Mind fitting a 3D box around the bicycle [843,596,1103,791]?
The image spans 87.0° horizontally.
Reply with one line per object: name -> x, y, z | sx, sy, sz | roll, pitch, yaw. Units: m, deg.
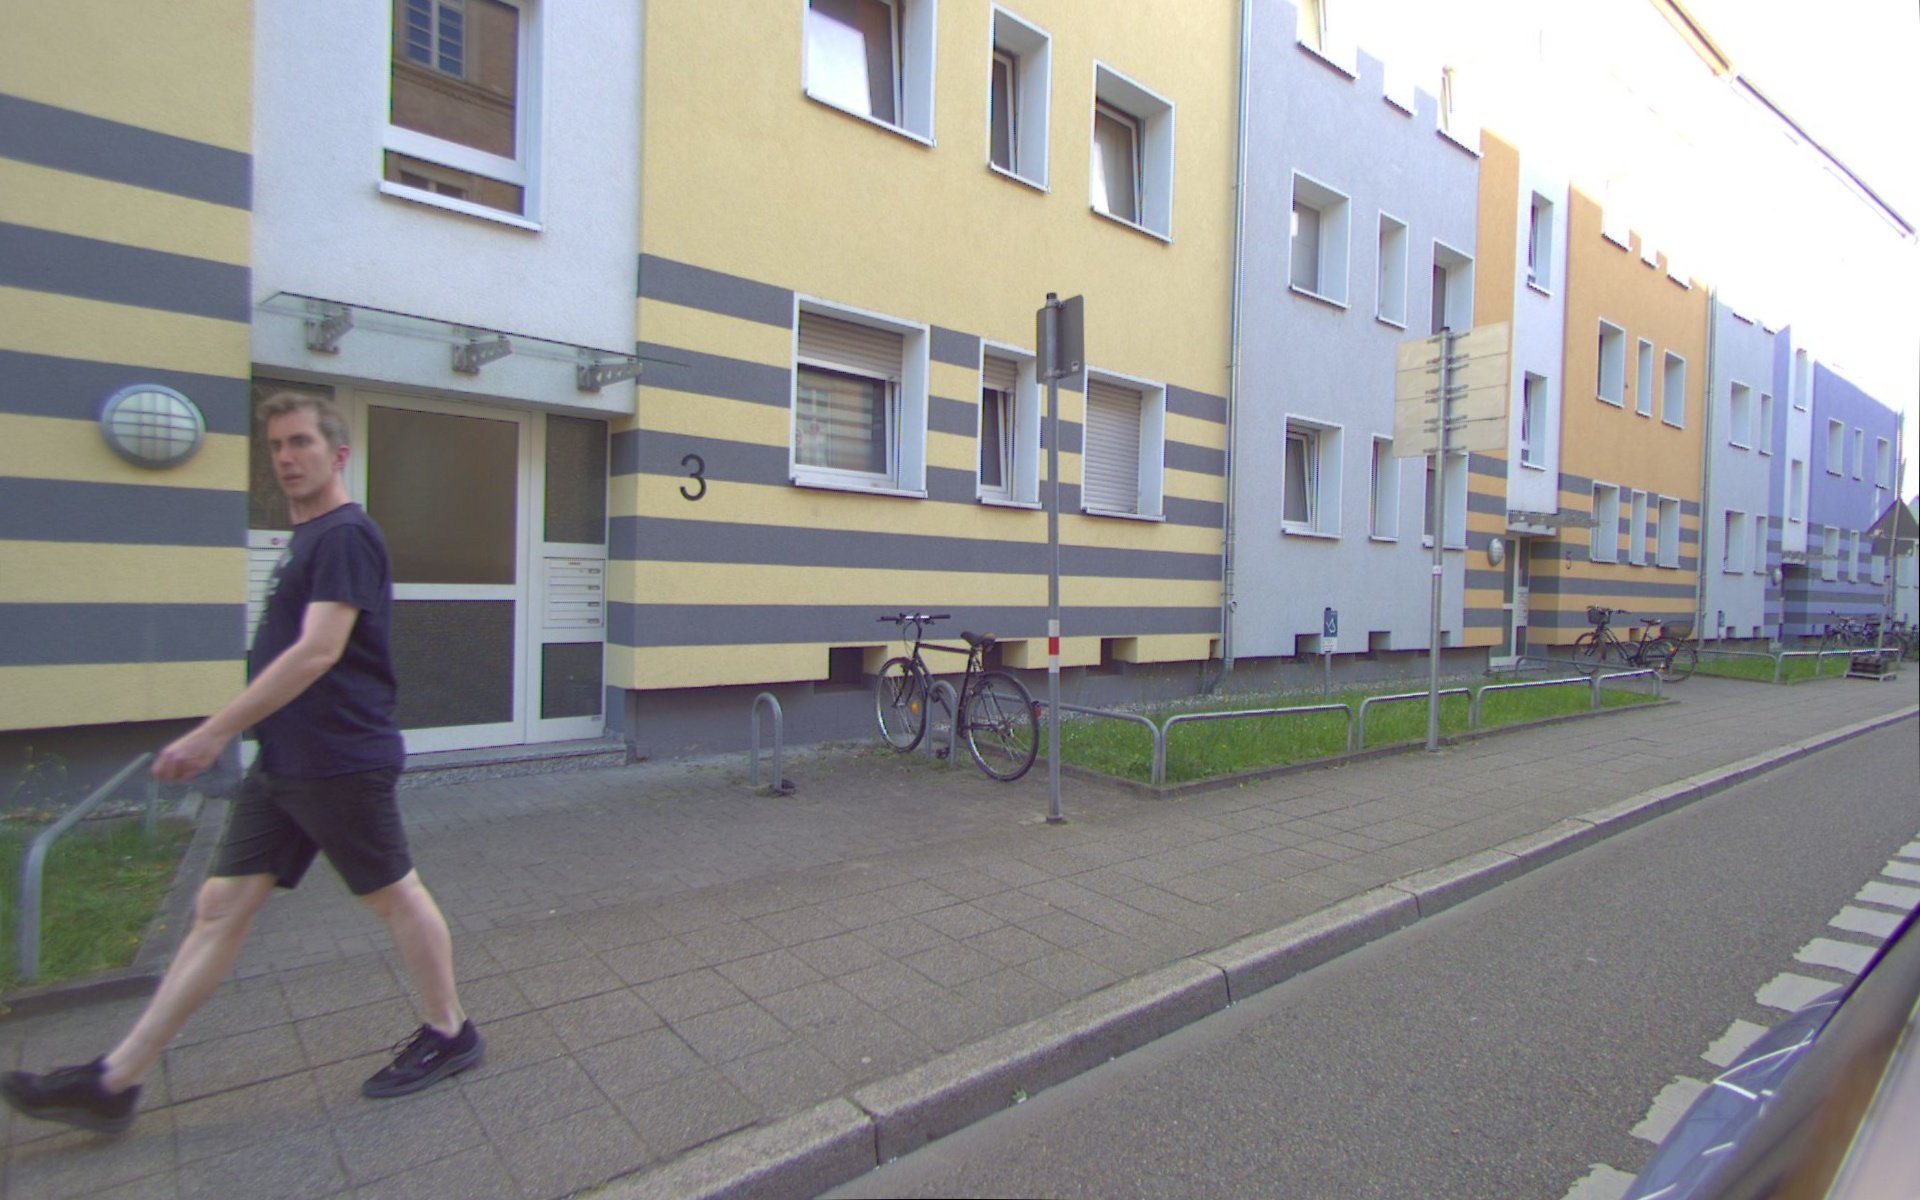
bicycle -> 0.024, 0.565, 7.040 | 0.625, 1.074, 1.946 | 1, 3, -42

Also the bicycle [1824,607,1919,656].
bicycle -> 22.258, 0.752, 24.664 | 0.624, 1.058, 1.711 | 1, 2, -39

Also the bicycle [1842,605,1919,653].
bicycle -> 23.277, 0.724, 25.302 | 0.625, 1.095, 1.711 | 1, 3, -40

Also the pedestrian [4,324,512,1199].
pedestrian -> -1.695, 0.352, 2.502 | 0.898, 1.810, 0.646 | 1, 4, -38

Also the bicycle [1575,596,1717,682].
bicycle -> 10.718, 0.578, 15.860 | 0.625, 1.173, 1.709 | 1, 3, -42

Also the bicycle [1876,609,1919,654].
bicycle -> 24.145, 0.814, 25.334 | 0.625, 1.048, 1.709 | 1, 3, -42
